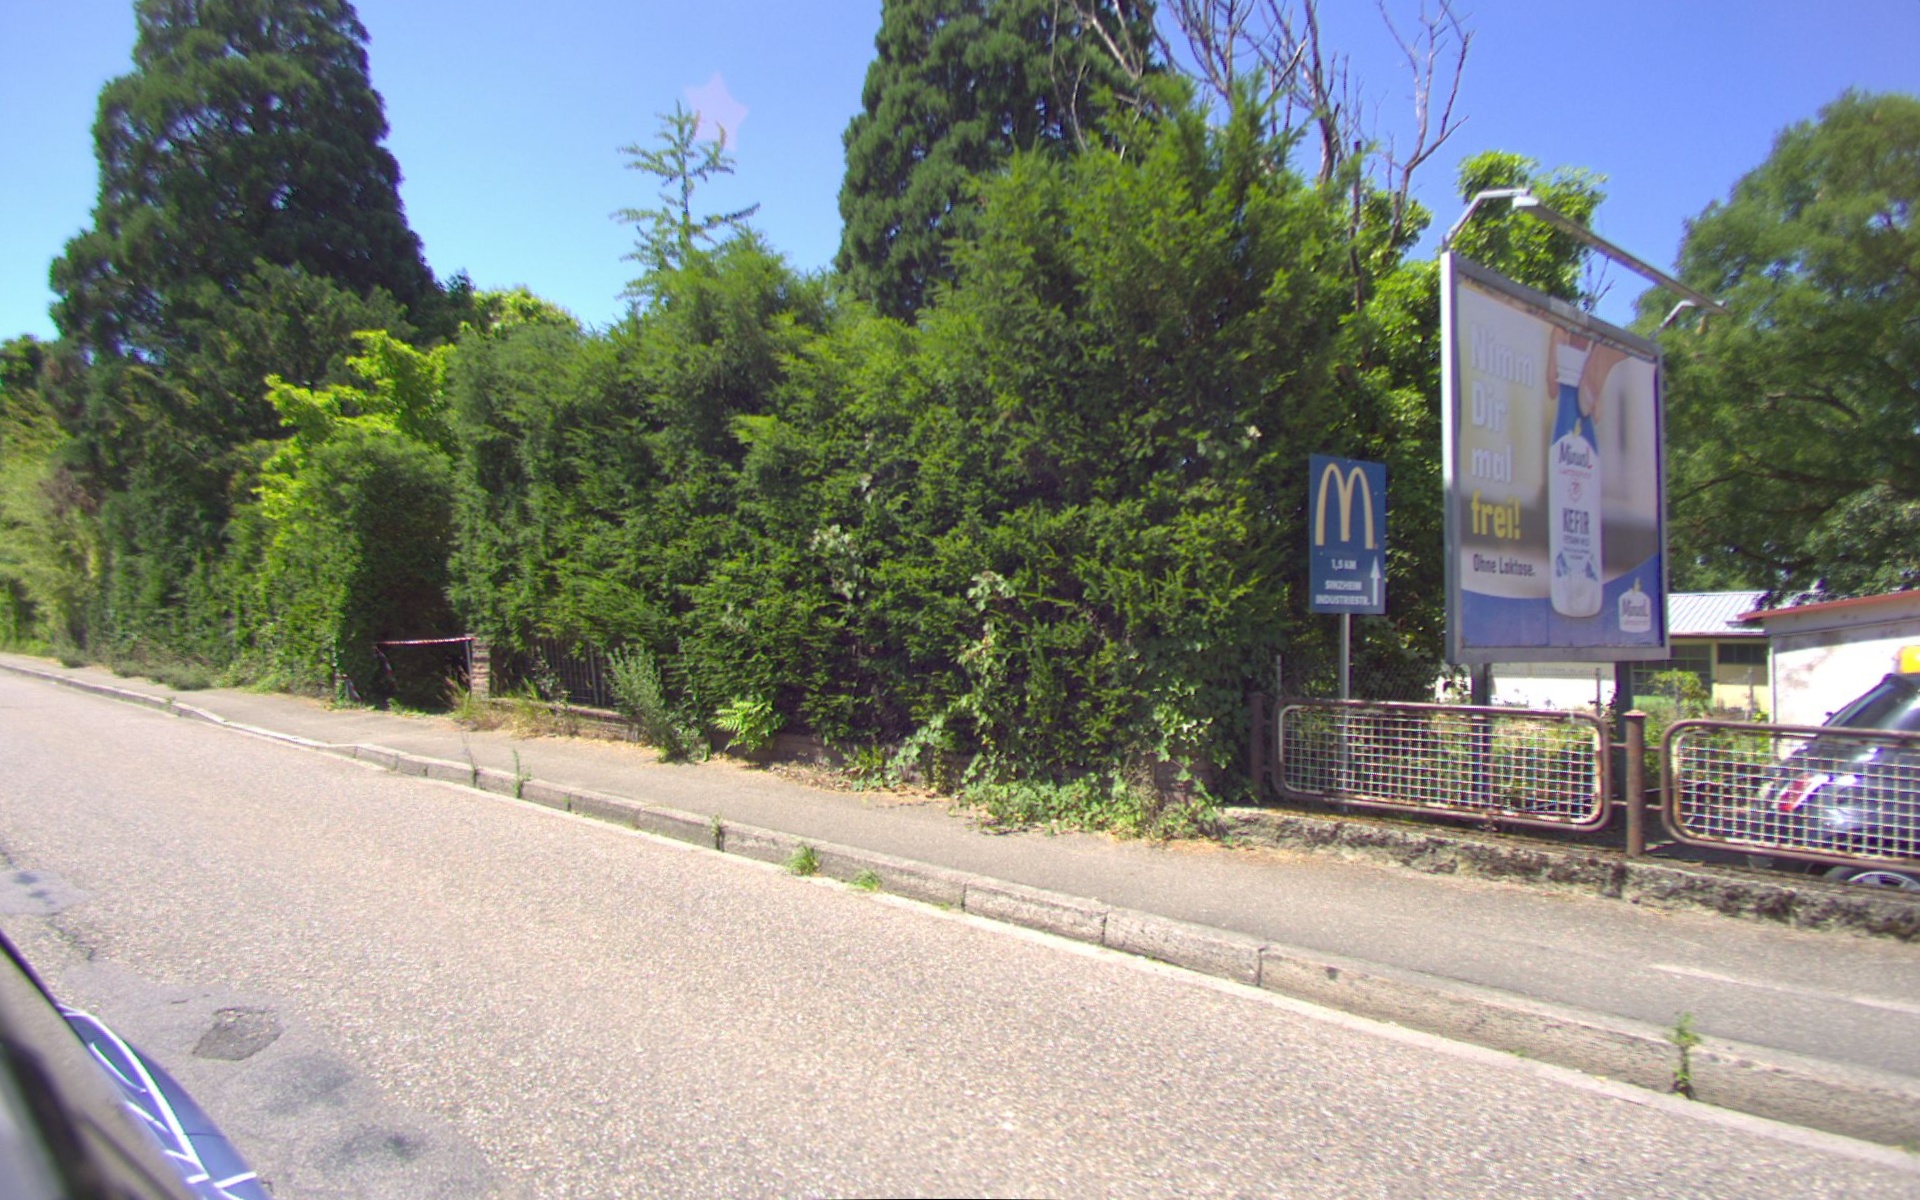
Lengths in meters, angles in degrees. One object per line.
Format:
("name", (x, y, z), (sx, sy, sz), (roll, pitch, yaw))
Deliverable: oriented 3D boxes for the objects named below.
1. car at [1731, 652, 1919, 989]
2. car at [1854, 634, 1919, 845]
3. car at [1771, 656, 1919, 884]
("car", (6.002, 1.070, 4.512), (3.998, 1.530, 1.775), (0, -3, 41))
("car", (9.852, 1.212, 8.103), (3.998, 1.755, 1.775), (0, -3, 41))
("car", (8.021, 1.211, 6.611), (1.772, 1.530, 4.006), (4, -3, -40))
